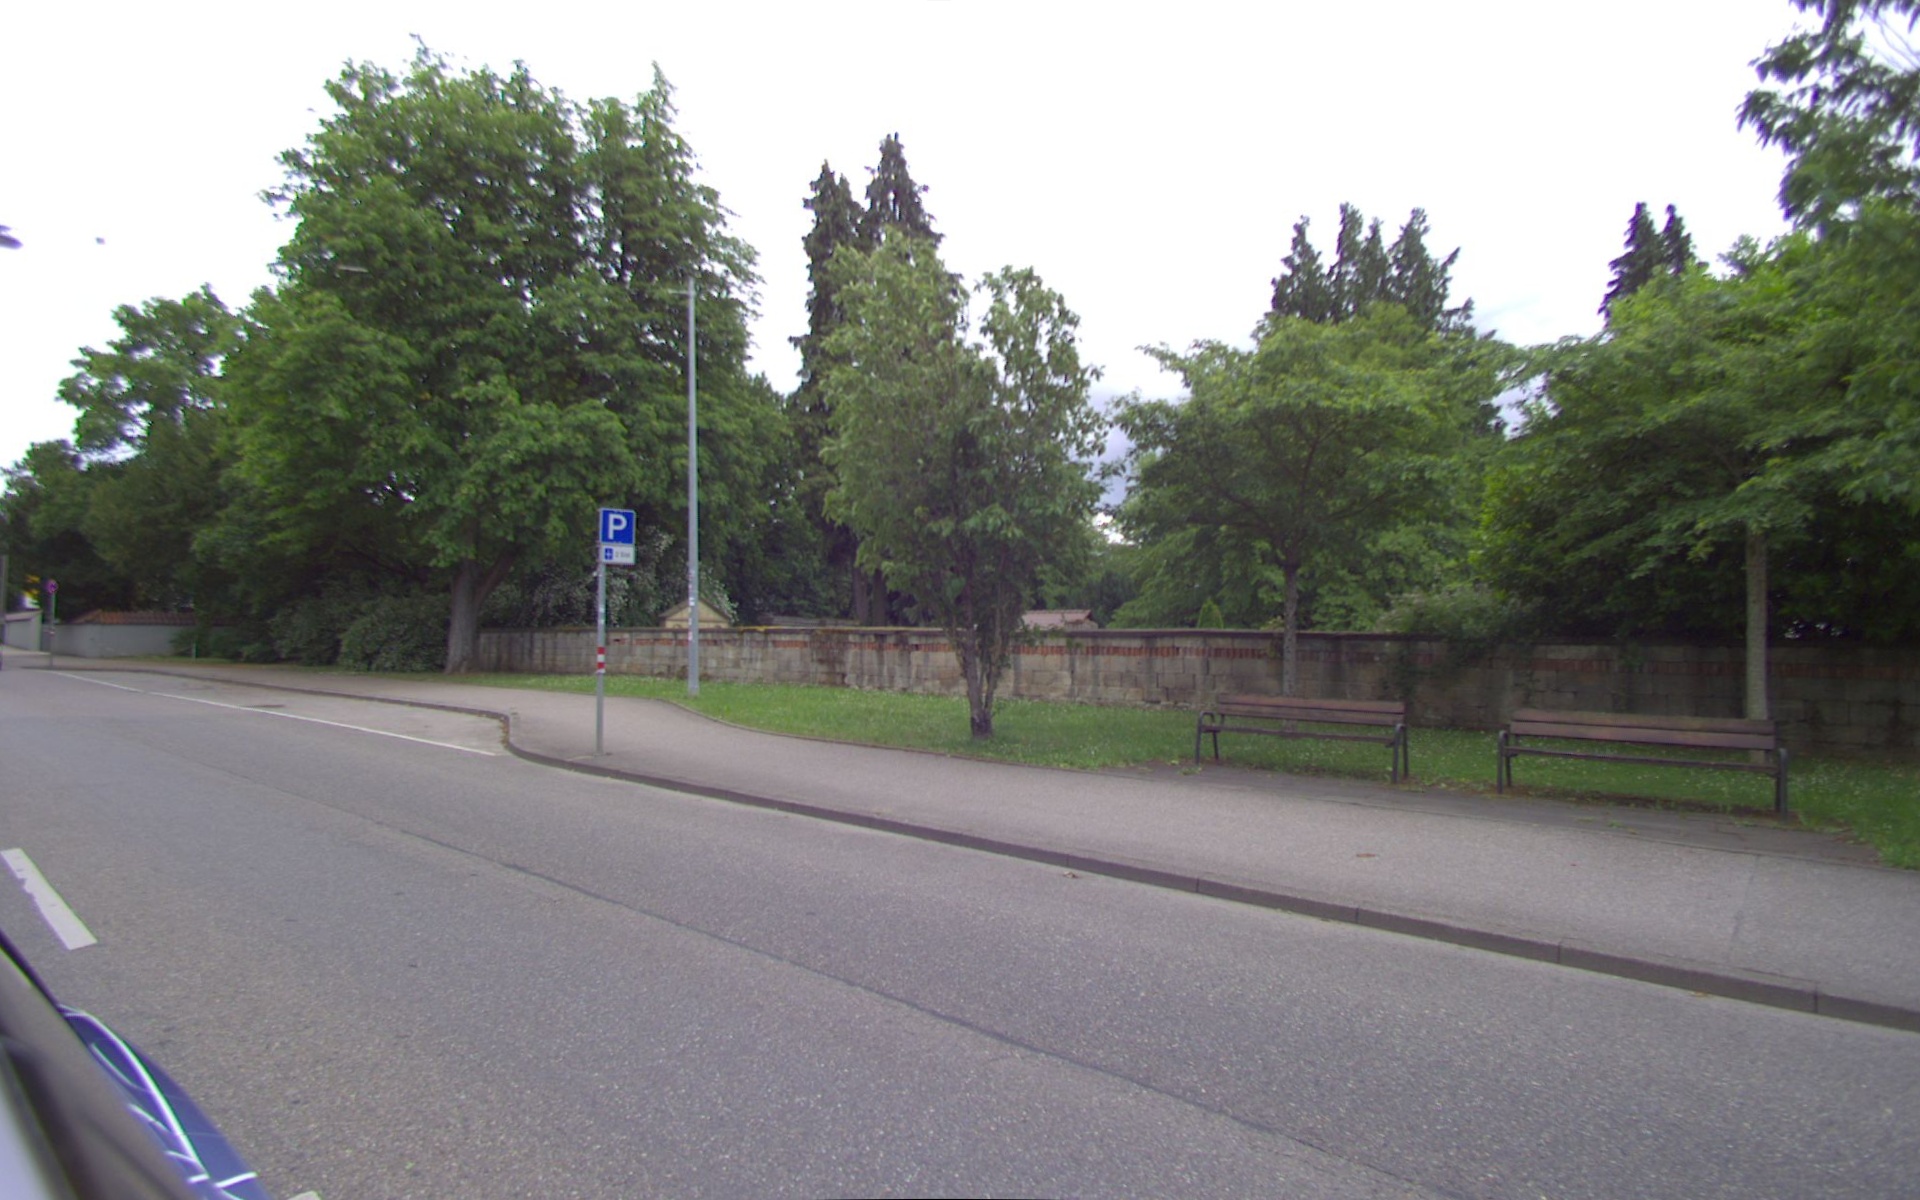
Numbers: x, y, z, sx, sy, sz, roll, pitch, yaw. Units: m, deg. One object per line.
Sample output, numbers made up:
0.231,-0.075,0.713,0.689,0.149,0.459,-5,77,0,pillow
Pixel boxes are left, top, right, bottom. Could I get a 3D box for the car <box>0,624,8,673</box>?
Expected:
-31.749,1.437,31.902,3.995,1.504,1.889,-1,-6,39,car
